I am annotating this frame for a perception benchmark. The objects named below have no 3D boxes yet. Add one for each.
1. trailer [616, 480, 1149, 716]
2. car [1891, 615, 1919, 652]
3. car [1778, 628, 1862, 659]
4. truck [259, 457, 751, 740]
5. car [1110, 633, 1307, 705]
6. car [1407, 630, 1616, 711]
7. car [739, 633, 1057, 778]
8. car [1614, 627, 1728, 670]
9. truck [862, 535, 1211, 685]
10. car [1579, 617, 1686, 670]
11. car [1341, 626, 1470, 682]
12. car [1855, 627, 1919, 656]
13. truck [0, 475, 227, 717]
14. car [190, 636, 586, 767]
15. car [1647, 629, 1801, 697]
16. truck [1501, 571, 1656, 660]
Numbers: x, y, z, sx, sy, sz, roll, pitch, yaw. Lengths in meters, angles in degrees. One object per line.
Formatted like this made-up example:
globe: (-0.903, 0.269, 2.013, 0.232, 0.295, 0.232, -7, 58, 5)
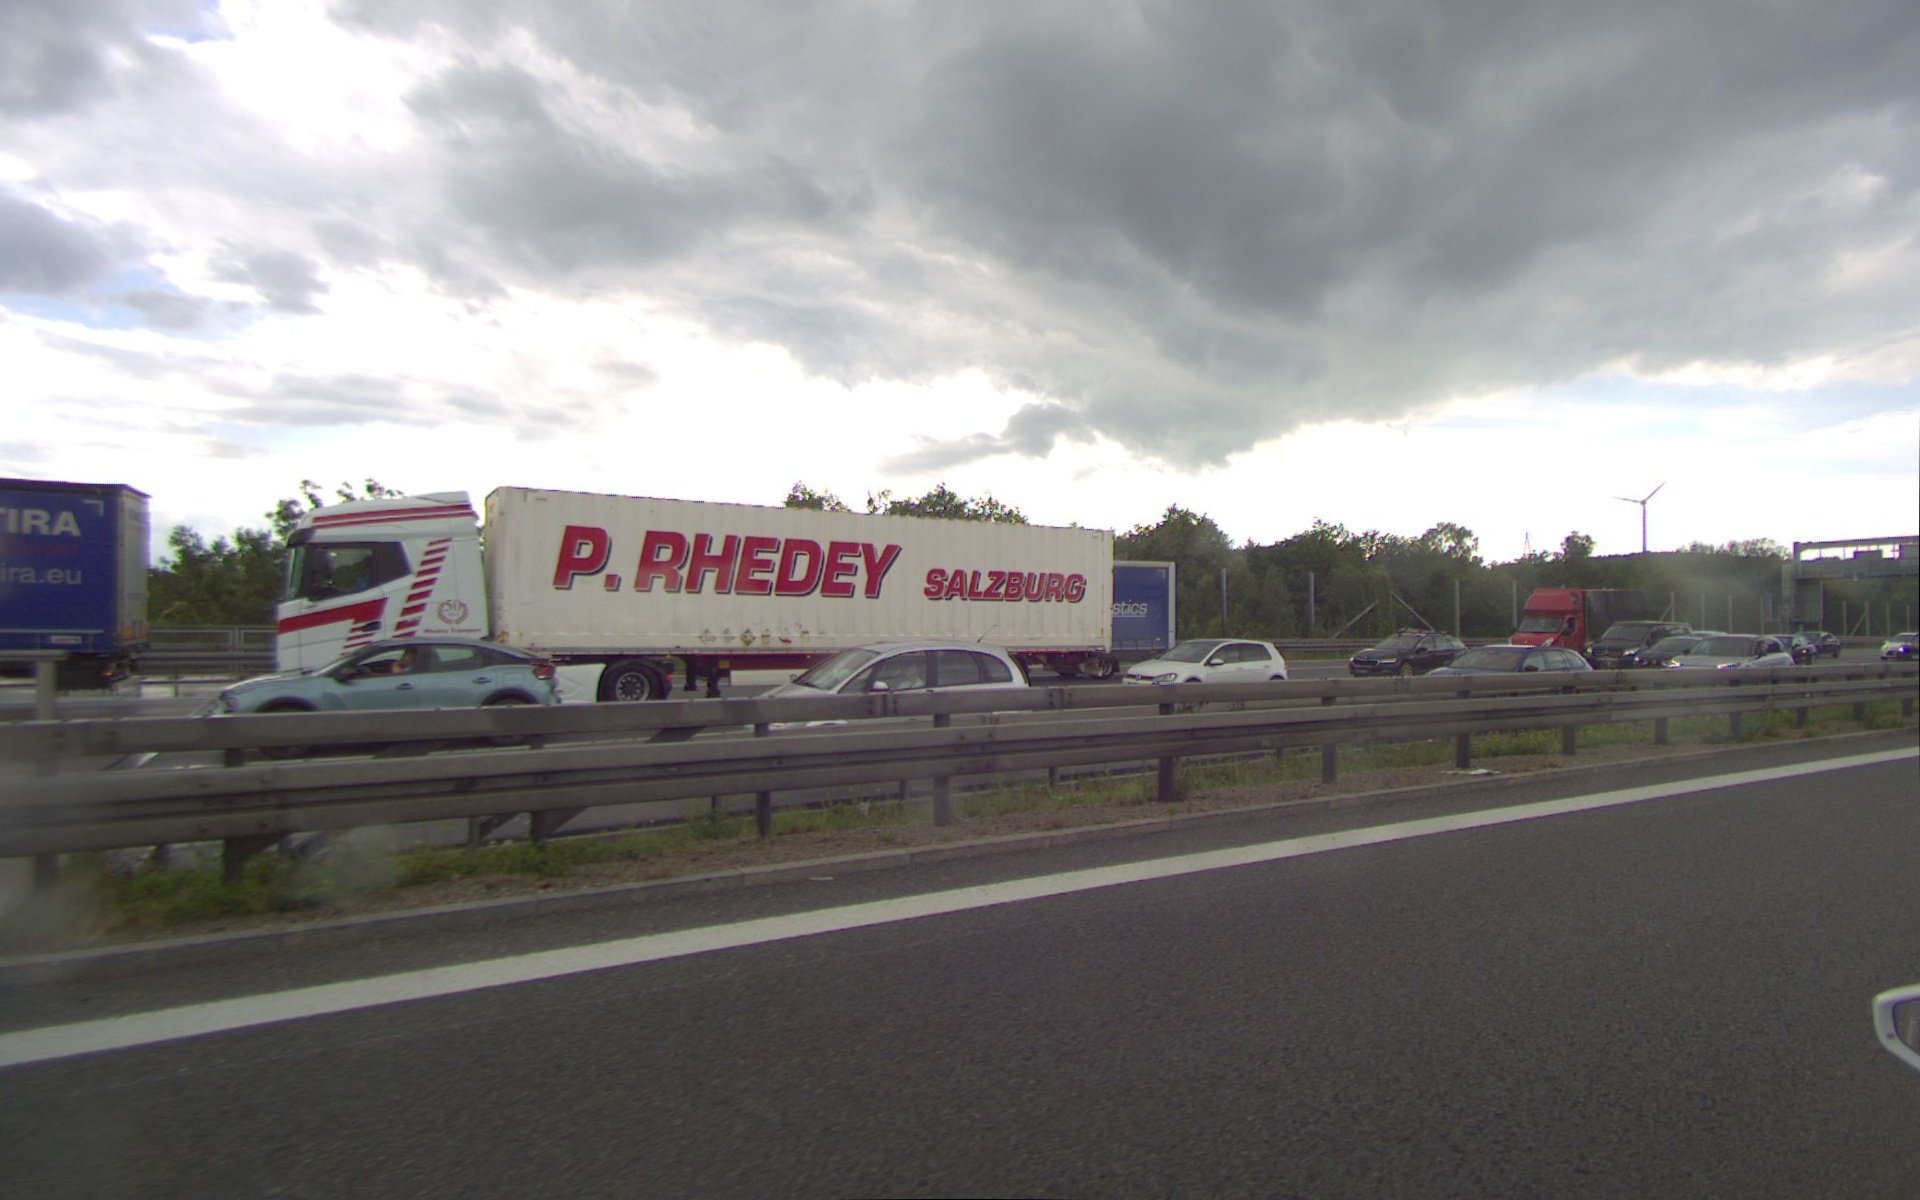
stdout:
trailer: (-1.286, -0.017, 22.561, 11.819, 4.250, 3.171, 0, -1, -31)
car: (44.542, 1.480, 45.690, 5.076, 1.619, 1.872, 0, -1, -31)
car: (39.330, 1.966, 45.888, 4.549, 1.299, 1.575, 0, -1, -31)
truck: (-8.041, -0.010, 18.428, 7.649, 4.250, 3.162, 0, -1, -31)
car: (5.657, 1.495, 22.694, 4.489, 1.426, 1.638, 1, -1, -30)
car: (11.419, 1.372, 20.714, 4.674, 1.459, 1.638, 1, -1, -30)
car: (-0.806, 1.302, 13.616, 3.953, 1.640, 1.784, 1, -1, -30)
car: (24.260, 1.622, 34.247, 4.139, 1.306, 1.694, 0, -1, -31)
truck: (2.522, 0.272, 29.951, 10.628, 3.891, 2.885, 0, -1, -30)
car: (25.946, 1.624, 38.701, 4.765, 1.915, 1.575, 0, -1, -31)
car: (13.965, 1.637, 31.434, 4.056, 1.585, 1.638, 0, -1, -30)
car: (50.297, 2.218, 54.320, 4.366, 1.466, 1.613, 0, -1, -31)
truck: (-21.898, -0.040, 14.926, 17.545, 4.074, 2.634, 0, -1, -32)
car: (-7.850, 1.315, 14.201, 4.621, 1.523, 1.638, 1, -1, -30)
car: (21.468, 1.694, 28.191, 4.667, 1.669, 1.863, 0, -1, -31)
truck: (26.779, 0.623, 43.369, 7.717, 3.584, 2.451, 0, -1, -31)
